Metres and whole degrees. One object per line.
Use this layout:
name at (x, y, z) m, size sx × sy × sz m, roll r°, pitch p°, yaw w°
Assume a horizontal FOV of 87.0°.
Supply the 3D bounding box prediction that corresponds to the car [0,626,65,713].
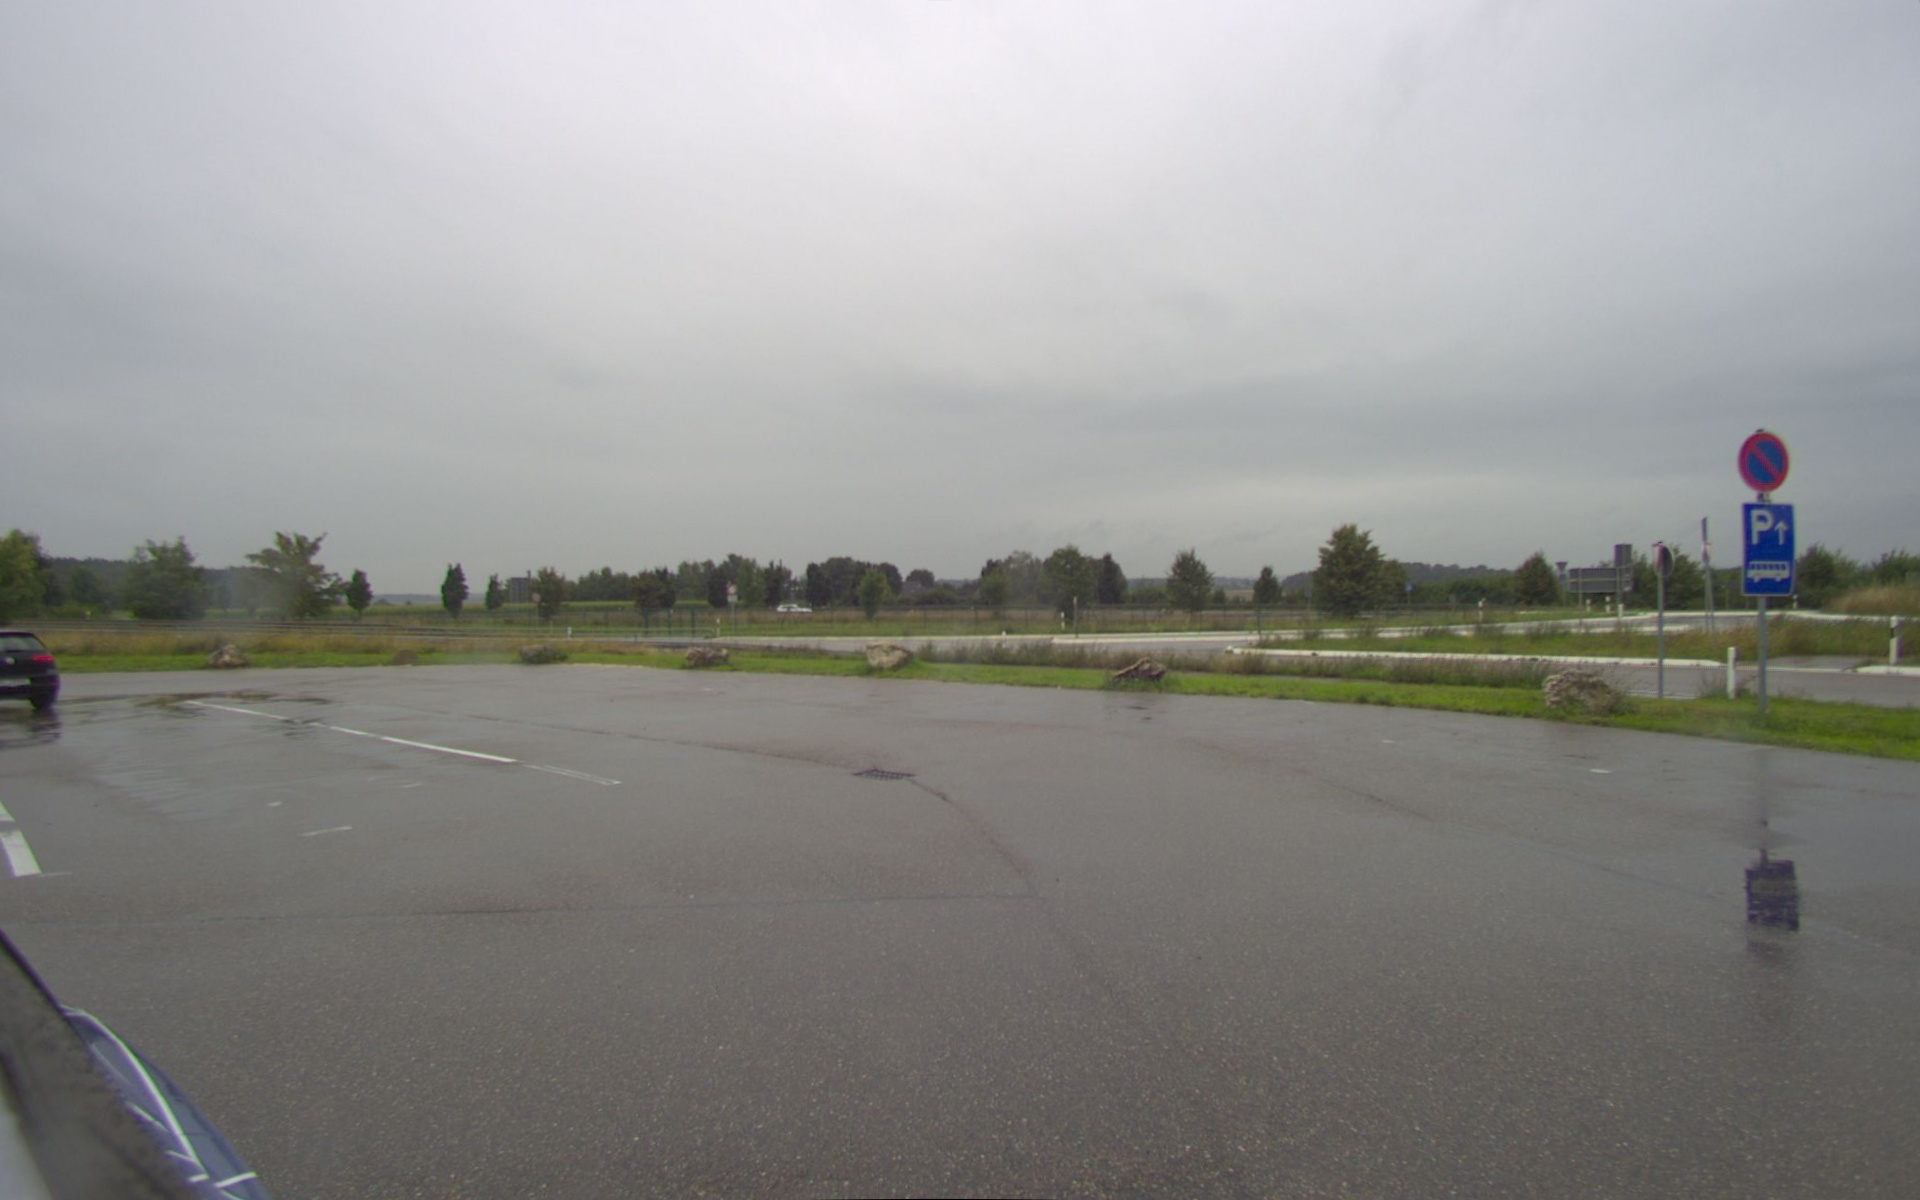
car at (-17.998, 1.222, 18.072) m, size 4.060 × 1.444 × 1.762 m, roll -1°, pitch -1°, yaw 29°
